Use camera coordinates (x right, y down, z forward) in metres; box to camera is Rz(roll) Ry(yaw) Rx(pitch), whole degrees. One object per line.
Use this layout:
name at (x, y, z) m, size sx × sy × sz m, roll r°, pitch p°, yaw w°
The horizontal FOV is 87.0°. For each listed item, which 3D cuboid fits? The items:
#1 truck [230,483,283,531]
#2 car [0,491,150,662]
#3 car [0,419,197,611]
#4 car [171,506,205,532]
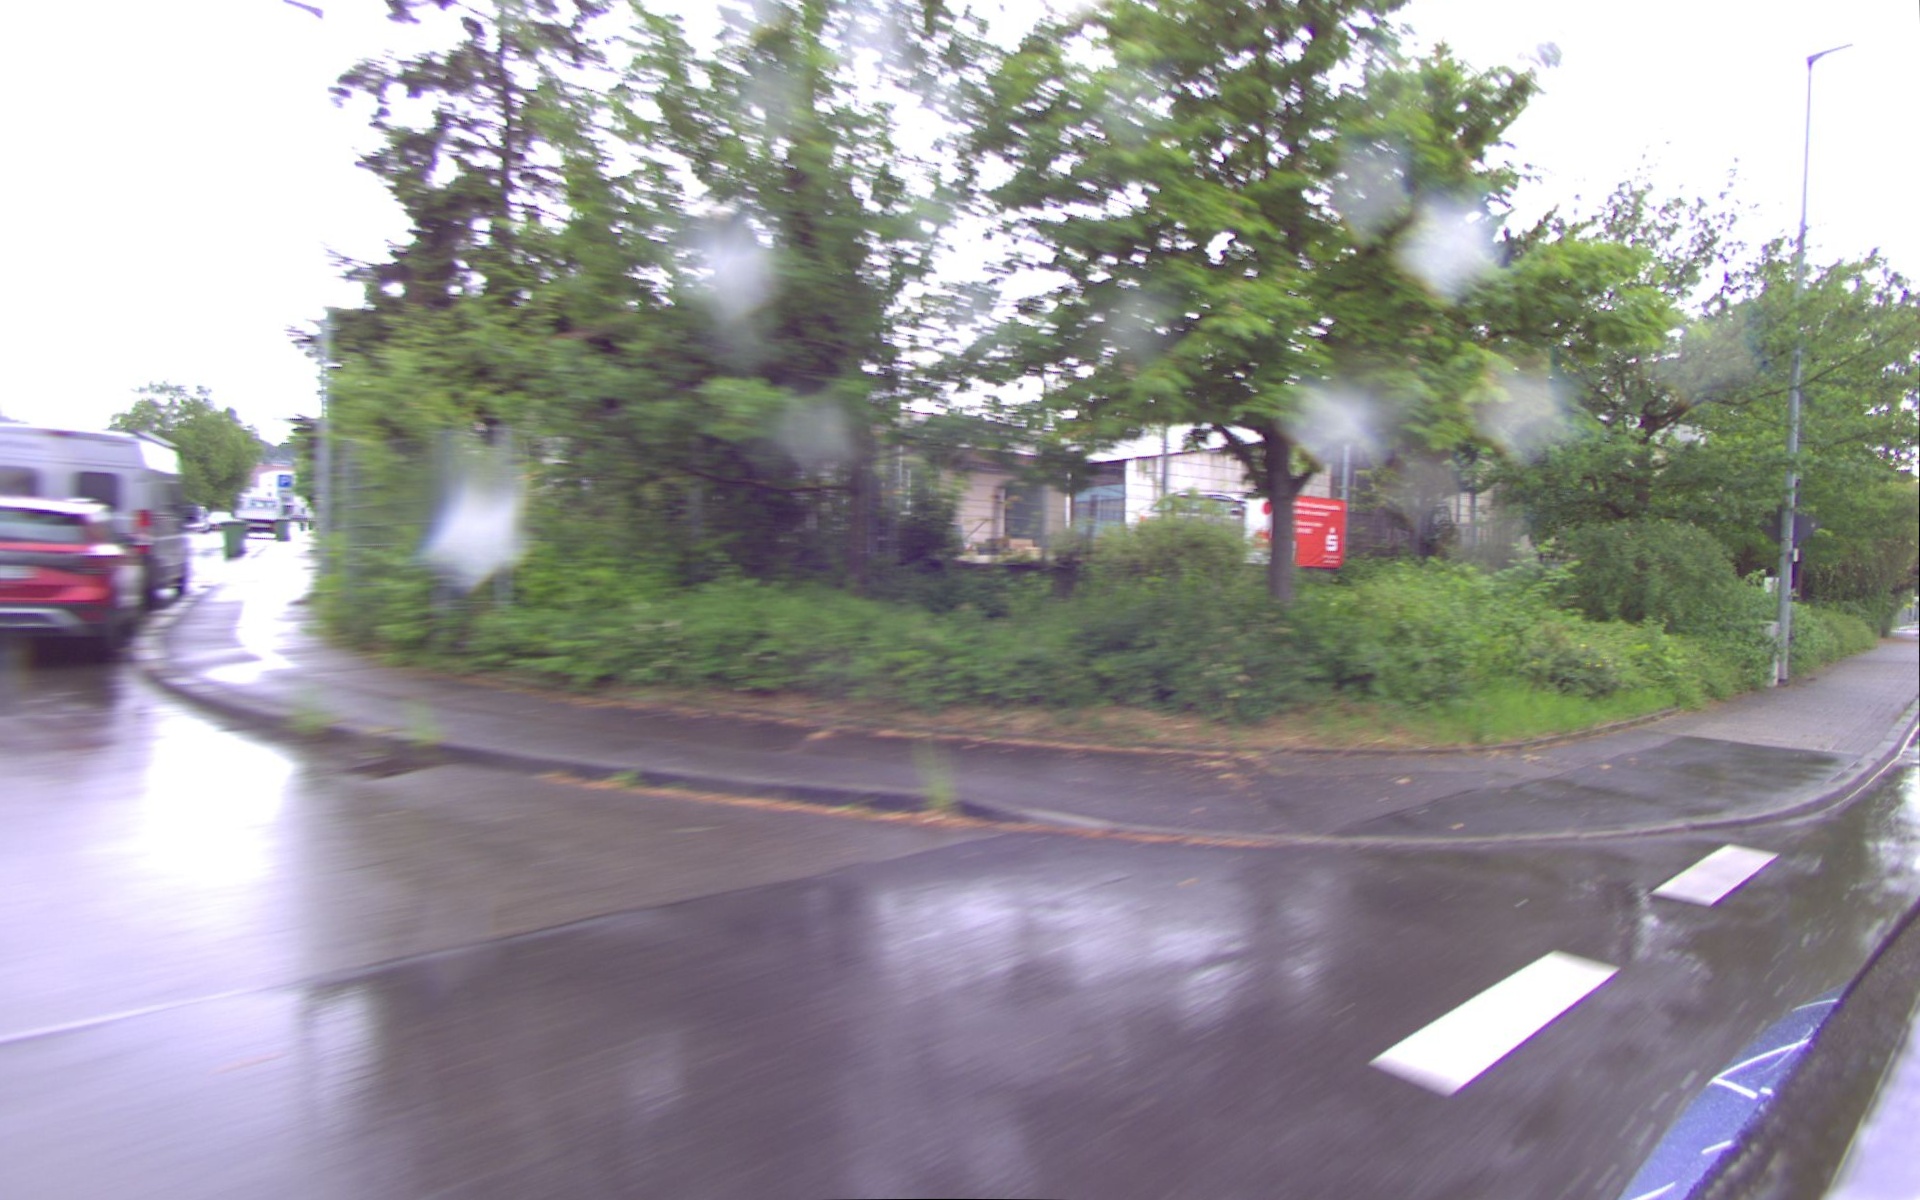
truck at (-41.186, -5.390, 59.370) m, size 2.127 × 2.267 × 5.887 m, roll 1°, pitch 0°, yaw -31°
car at (-9.697, -0.333, 10.542) m, size 1.735 × 1.517 × 3.895 m, roll 1°, pitch 3°, yaw -36°
car at (-13.191, -1.309, 15.436) m, size 1.960 × 2.467 × 4.927 m, roll 1°, pitch 5°, yaw -31°
car at (-51.889, -5.412, 68.050) m, size 1.607 × 1.438 × 3.999 m, roll 1°, pitch 0°, yaw -35°
